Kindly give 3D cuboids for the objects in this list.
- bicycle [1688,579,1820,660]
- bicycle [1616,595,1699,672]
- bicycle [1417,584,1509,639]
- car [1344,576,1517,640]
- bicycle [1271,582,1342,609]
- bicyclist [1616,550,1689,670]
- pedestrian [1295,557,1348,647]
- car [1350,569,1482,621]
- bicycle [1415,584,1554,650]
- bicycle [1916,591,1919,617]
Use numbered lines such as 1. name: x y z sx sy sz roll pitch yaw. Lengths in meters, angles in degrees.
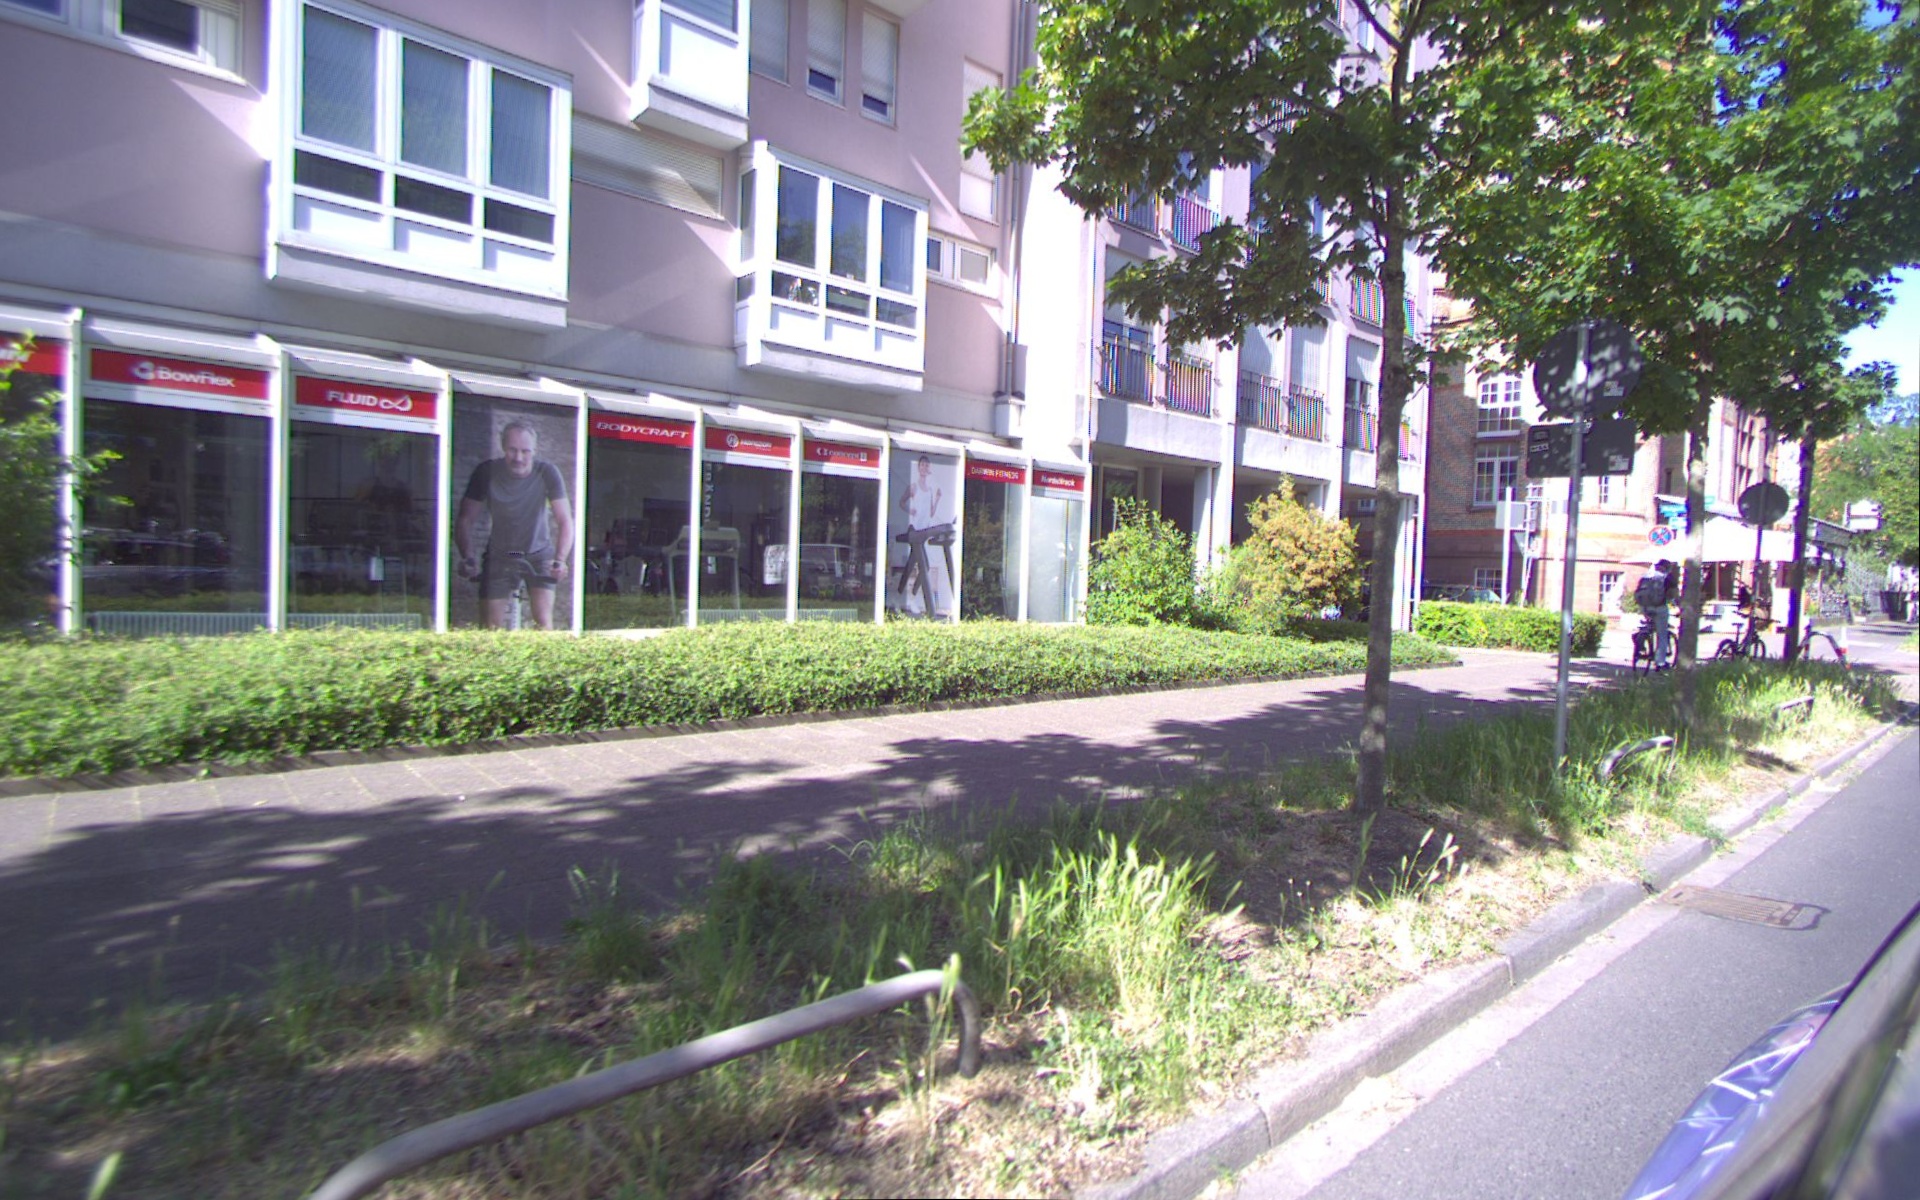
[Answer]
1. bicycle: 11.228 0.273 14.305 1.980 1.079 0.594 1 2 -25
2. bicycle: 10.393 0.465 15.065 1.828 1.040 0.590 -1 3 -42
3. bicycle: 10.733 0.249 21.574 2.159 1.040 0.688 3 2 -33
4. car: 12.622 0.141 27.416 1.824 1.541 3.963 -1 2 -28
5. bicycle: 13.733 -0.181 40.087 2.714 1.040 1.061 -1 1 -27
6. bicyclist: 10.258 0.131 14.986 0.874 1.716 0.668 0 2 -42
7. pedestrian: 6.800 0.020 19.042 0.653 1.622 0.594 7 6 43
8. car: 15.531 -0.236 34.689 1.758 1.541 3.966 -2 4 -25
9. bicycle: 9.933 0.307 19.251 0.675 1.040 2.202 3 2 -39
10. bicycle: 43.729 0.212 45.572 1.810 1.190 0.654 1 5 -40
